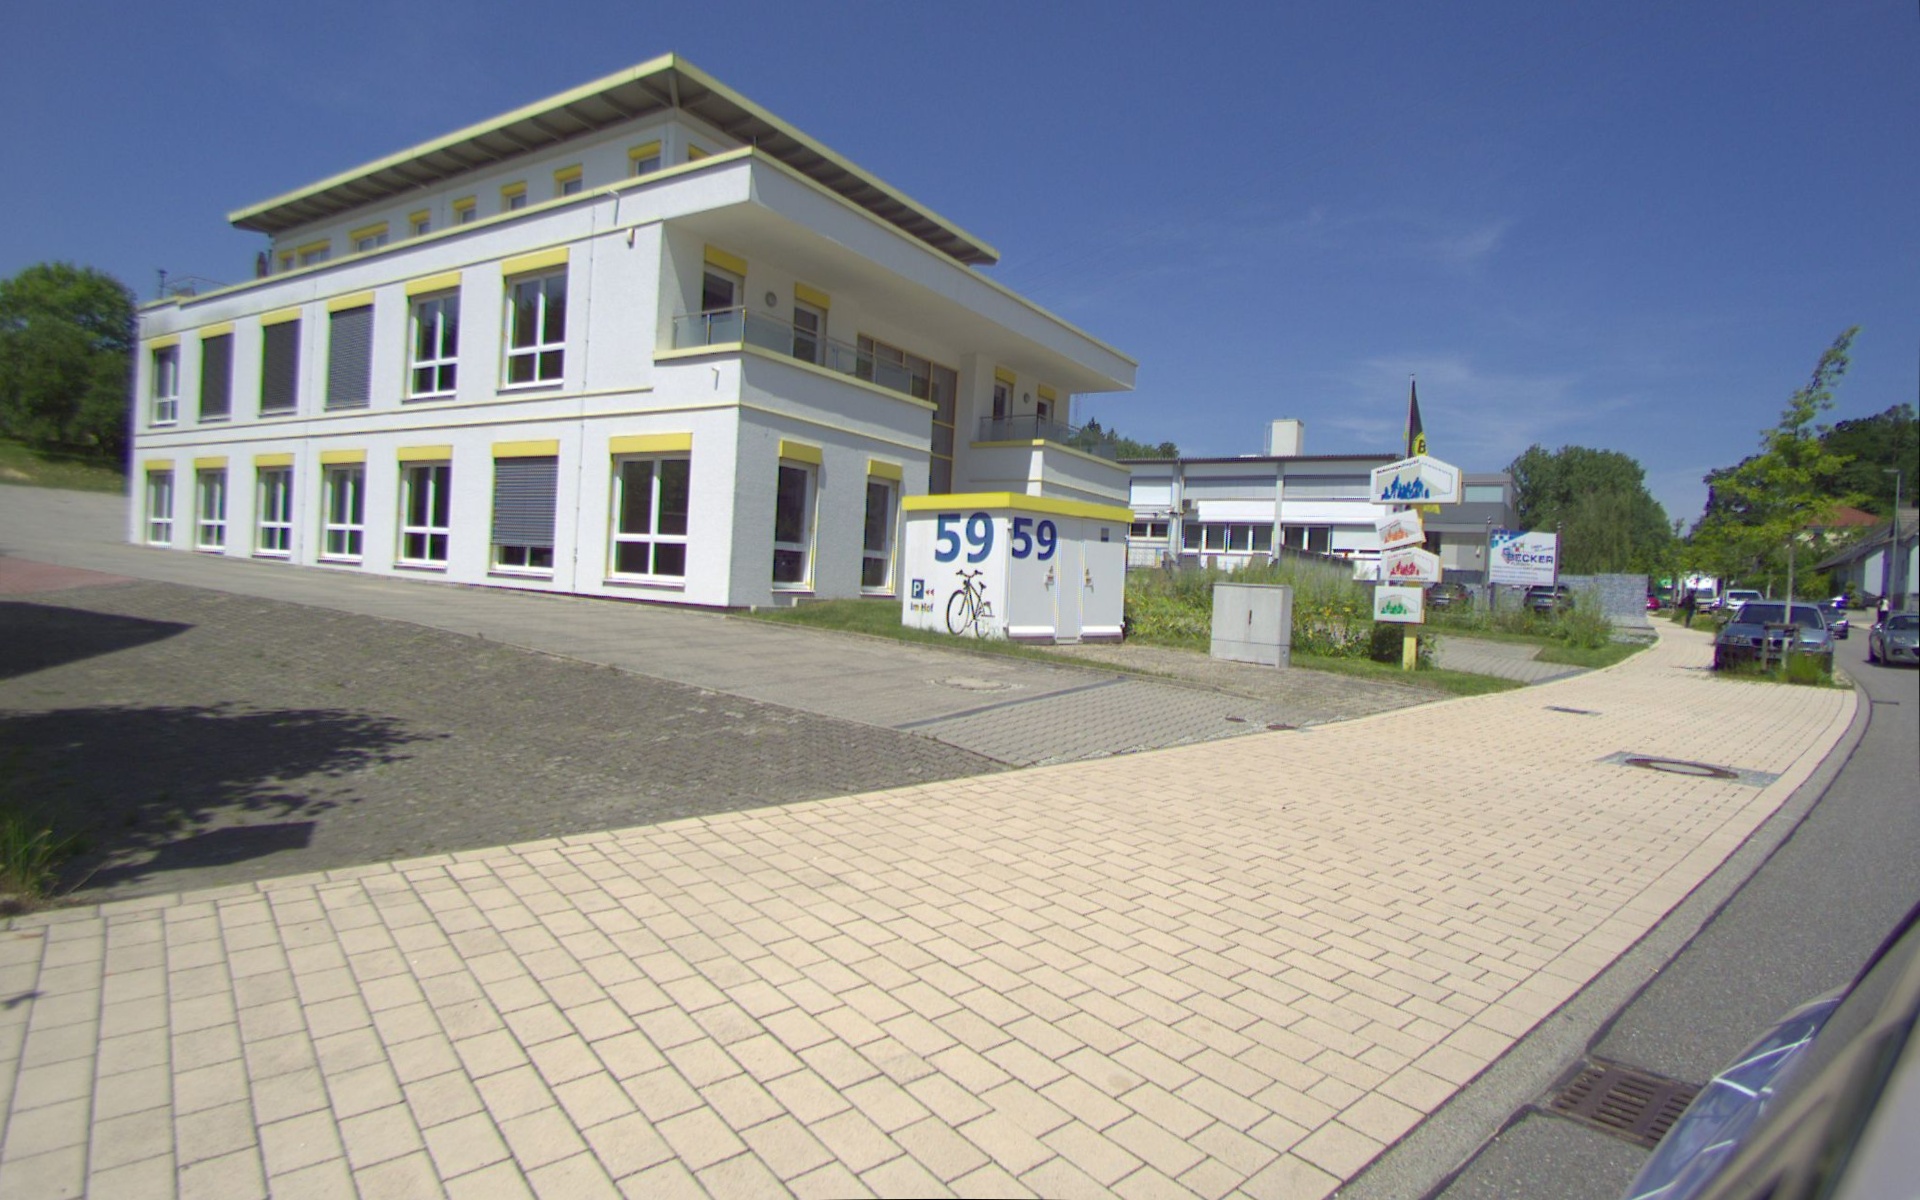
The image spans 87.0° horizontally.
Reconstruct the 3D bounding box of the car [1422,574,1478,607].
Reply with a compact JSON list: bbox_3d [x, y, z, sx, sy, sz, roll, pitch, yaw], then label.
[{"bbox_3d":[21.997,-0.411,45.374,1.733,1.382,3.794,2,1,33],"label":"car"}]

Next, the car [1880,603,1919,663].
[{"bbox_3d":[22.428,0.756,23.249,1.661,1.276,3.502,2,2,39],"label":"car"}]

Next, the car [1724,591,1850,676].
[{"bbox_3d":[16.206,0.580,19.766,1.671,1.393,3.939,4,3,42],"label":"car"}]

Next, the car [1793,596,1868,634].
[{"bbox_3d":[34.602,0.544,40.303,1.900,1.366,3.948,2,2,36],"label":"car"}]

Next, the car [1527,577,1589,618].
[{"bbox_3d":[25.307,-0.146,42.789,1.987,1.504,3.952,6,4,33],"label":"car"}]

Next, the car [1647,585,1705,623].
[{"bbox_3d":[31.942,0.155,45.218,1.638,1.548,3.825,2,1,29],"label":"car"}]

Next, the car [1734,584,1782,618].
[{"bbox_3d":[47.256,0.032,60.021,1.958,1.856,4.407,4,3,36],"label":"car"}]

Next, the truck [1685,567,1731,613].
[{"bbox_3d":[61.150,-0.824,82.812,2.792,3.455,8.013,4,3,36],"label":"truck"}]
